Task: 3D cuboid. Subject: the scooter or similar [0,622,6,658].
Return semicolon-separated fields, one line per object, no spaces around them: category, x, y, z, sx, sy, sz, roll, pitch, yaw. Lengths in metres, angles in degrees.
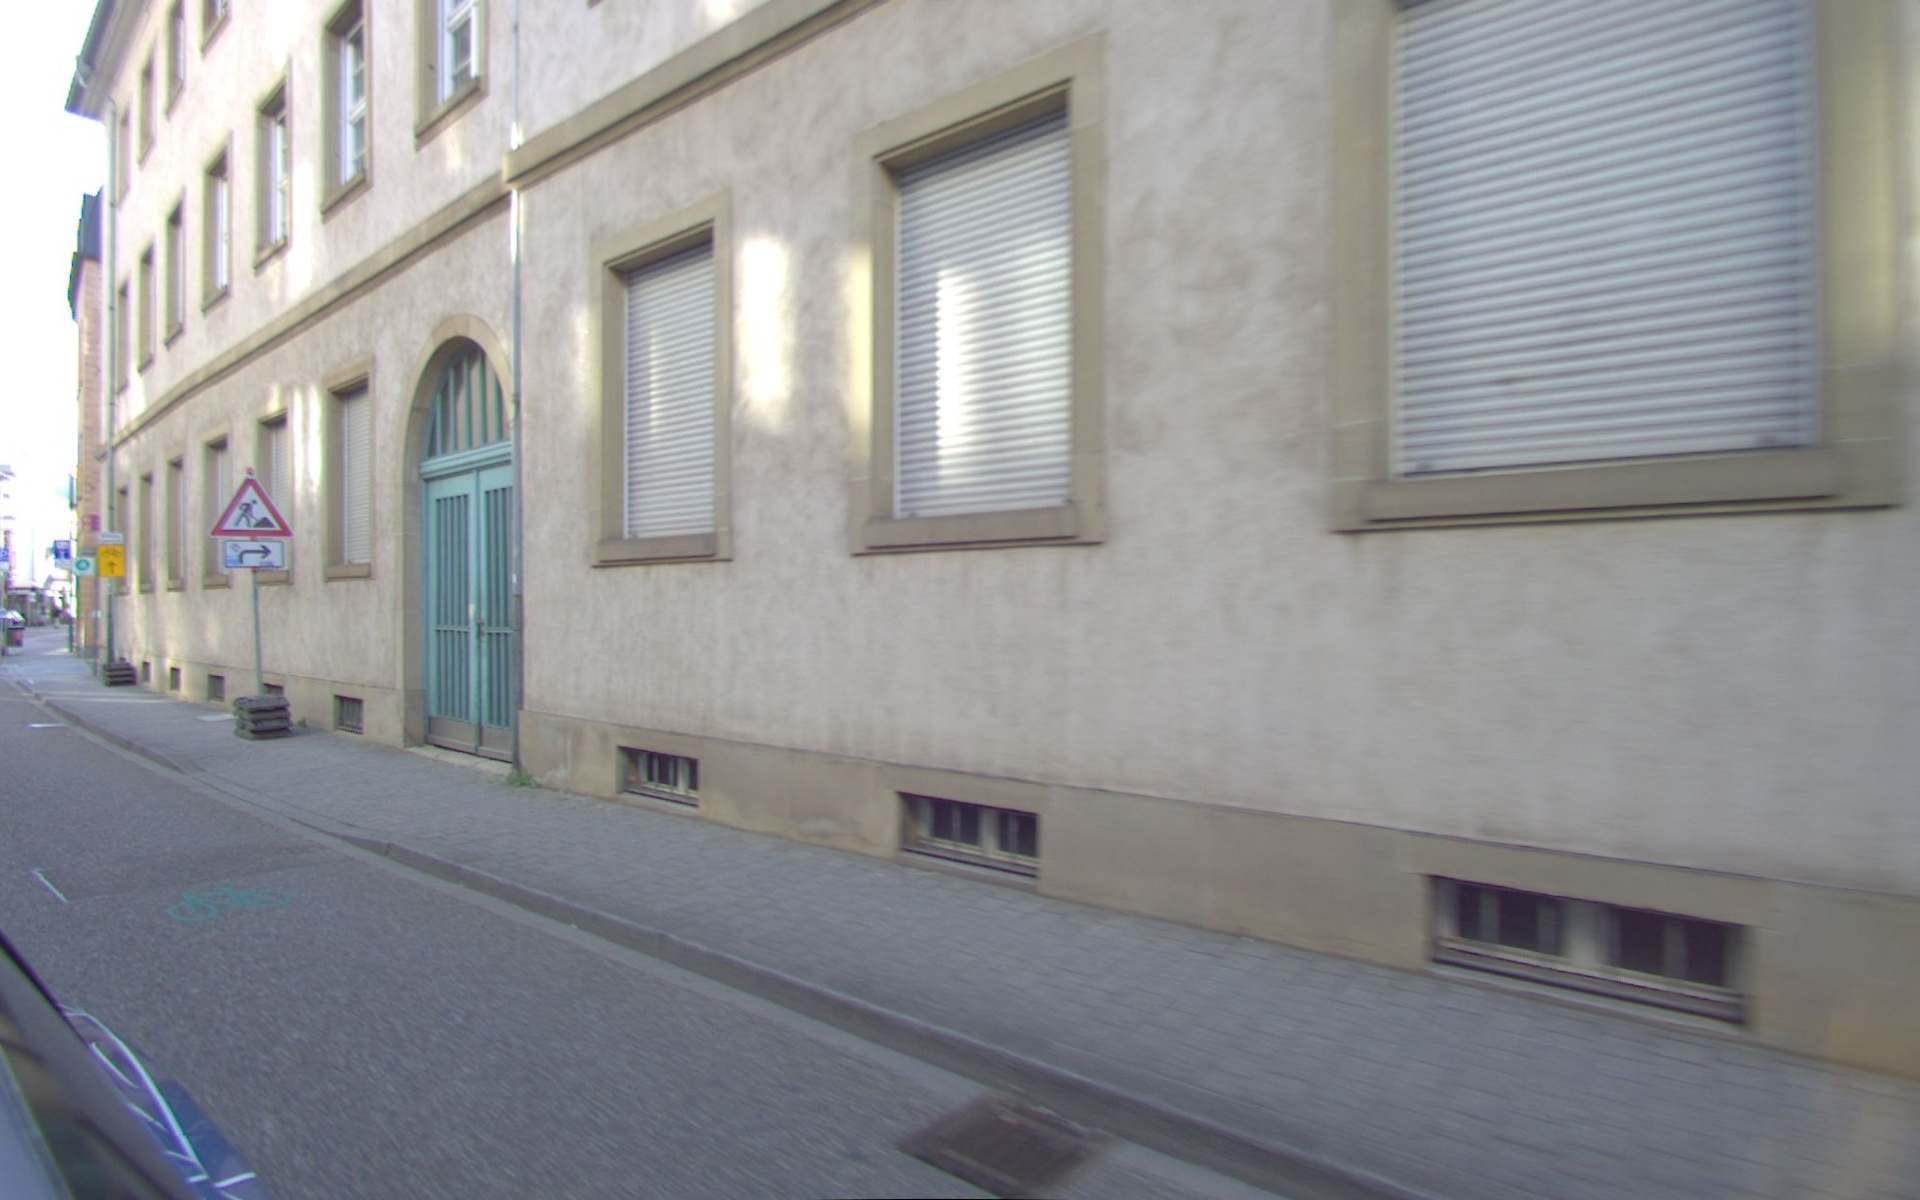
scooter or similar;-32.866;1.349;33.990;0.461;1.234;1.301;1;-2;-6
